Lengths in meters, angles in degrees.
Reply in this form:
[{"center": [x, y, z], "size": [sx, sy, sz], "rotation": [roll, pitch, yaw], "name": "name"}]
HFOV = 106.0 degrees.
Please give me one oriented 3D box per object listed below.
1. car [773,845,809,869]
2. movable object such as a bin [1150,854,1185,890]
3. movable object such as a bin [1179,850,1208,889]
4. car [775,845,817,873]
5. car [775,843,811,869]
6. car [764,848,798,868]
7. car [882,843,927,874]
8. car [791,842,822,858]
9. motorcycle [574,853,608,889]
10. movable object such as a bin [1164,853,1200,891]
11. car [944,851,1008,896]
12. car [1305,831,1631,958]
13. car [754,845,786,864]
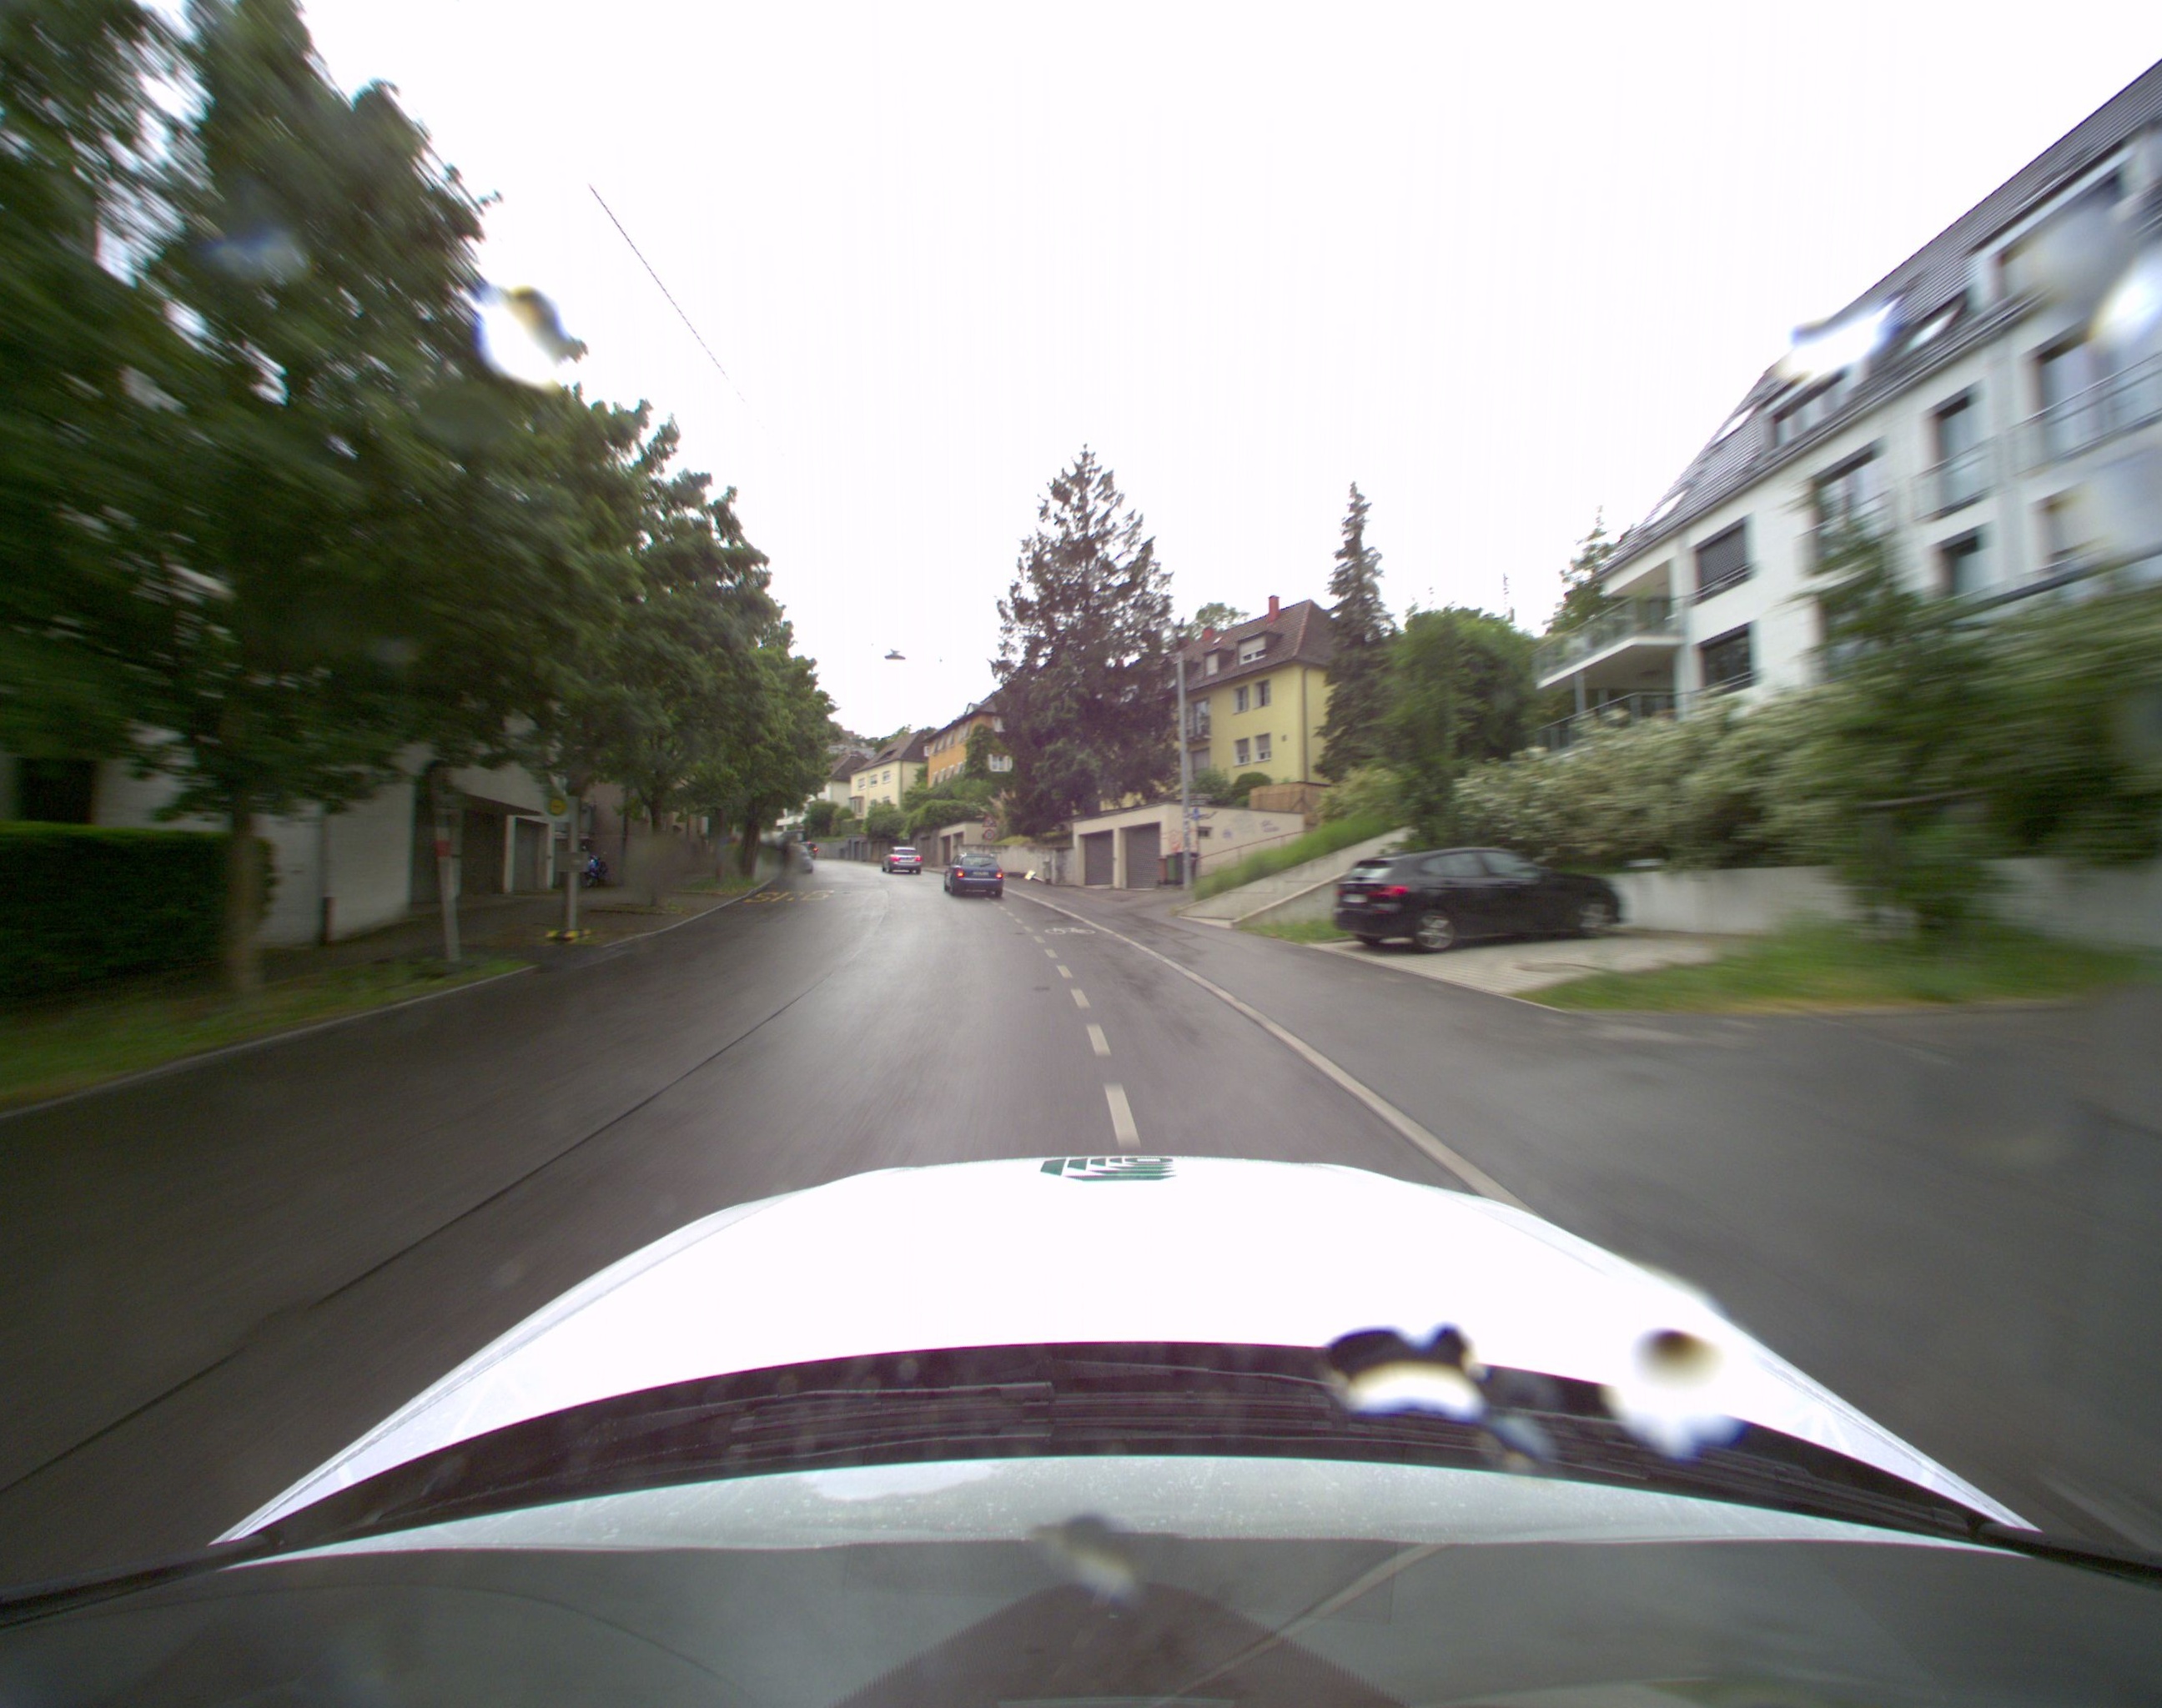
[{"center": [-20.496, 0.227, 57.471], "size": [2.003, 1.574, 3.968], "rotation": [-1, 0, -24], "name": "car"}, {"center": [2.903, 0.596, 27.285], "size": [0.864, 1.142, 0.792], "rotation": [-1, 0, -30], "name": "movable object such as a bin"}, {"center": [3.577, 0.484, 25.955], "size": [0.706, 1.223, 0.575], "rotation": [-1, 0, -30], "name": "movable object such as a bin"}, {"center": [-16.793, 0.261, 47.877], "size": [2.003, 1.530, 3.968], "rotation": [-1, 1, -24], "name": "car"}, {"center": [-18.535, 0.088, 52.410], "size": [1.887, 1.596, 3.968], "rotation": [-1, 0, -24], "name": "car"}, {"center": [-23.629, 0.291, 64.011], "size": [2.005, 1.475, 3.964], "rotation": [-1, 0, -27], "name": "car"}, {"center": [-10.087, 0.222, 46.270], "size": [1.957, 1.561, 4.235], "rotation": [1, 2, -20], "name": "car"}, {"center": [-29.902, -0.421, 88.599], "size": [2.009, 1.684, 3.956], "rotation": [-1, 1, -37], "name": "car"}, {"center": [-16.812, 0.566, 27.963], "size": [0.615, 1.159, 1.689], "rotation": [1, 1, -18], "name": "motorcycle"}, {"center": [3.298, 0.582, 26.591], "size": [0.864, 1.185, 0.780], "rotation": [-1, 0, -30], "name": "movable object such as a bin"}, {"center": [-3.770, 0.636, 28.697], "size": [1.855, 1.414, 4.343], "rotation": [-1, 0, -12], "name": "car"}, {"center": [5.722, 0.534, 12.229], "size": [4.170, 1.508, 1.734], "rotation": [-3, 0, -11], "name": "car"}, {"center": [-26.714, 0.046, 69.796], "size": [2.006, 1.475, 3.963], "rotation": [-1, 0, -29], "name": "car"}]
